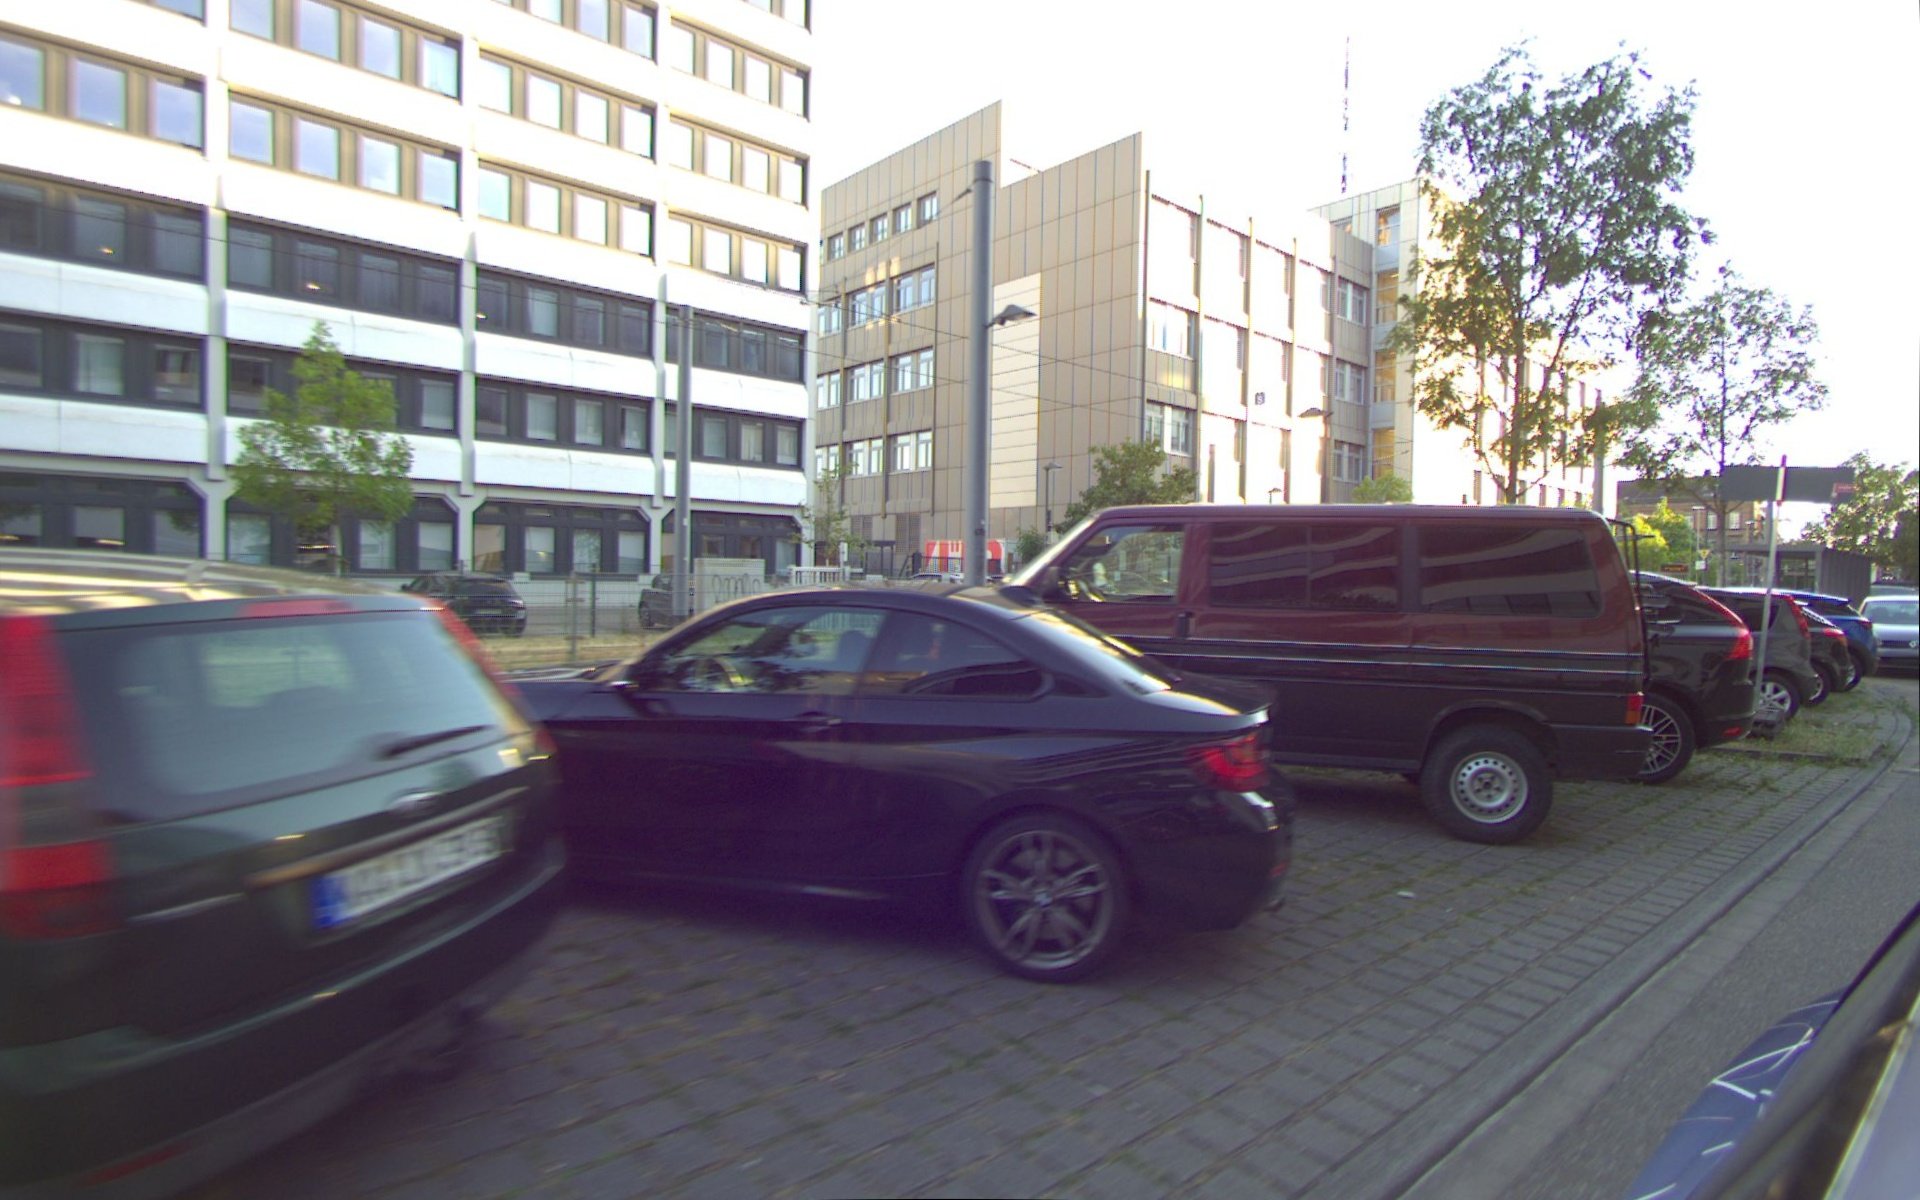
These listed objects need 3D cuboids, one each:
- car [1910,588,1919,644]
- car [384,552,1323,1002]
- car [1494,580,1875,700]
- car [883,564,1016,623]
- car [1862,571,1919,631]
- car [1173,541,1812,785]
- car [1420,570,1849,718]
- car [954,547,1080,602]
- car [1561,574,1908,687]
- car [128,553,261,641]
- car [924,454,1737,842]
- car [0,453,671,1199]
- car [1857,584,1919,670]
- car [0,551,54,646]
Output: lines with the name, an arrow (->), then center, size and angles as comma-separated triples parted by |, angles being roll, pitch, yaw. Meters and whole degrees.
car -> 26.960, 0.431, 27.365 | 4.119, 1.470, 1.677 | 0, 1, -44
car -> -0.424, 0.584, 4.598 | 3.722, 1.484, 1.632 | 0, -1, 14
car -> 9.942, 0.486, 14.220 | 3.937, 1.483, 1.731 | 1, 1, 11
car -> -0.381, -0.224, 30.480 | 1.793, 1.532, 3.994 | 1, 3, -42
car -> 37.106, 0.028, 39.874 | 4.655, 2.203, 1.807 | 0, 3, -42
car -> 4.235, 0.455, 8.878 | 4.538, 1.771, 1.862 | 0, -1, 16
car -> 7.962, 0.502, 12.365 | 3.940, 1.615, 1.730 | -1, 0, 14
car -> 1.729, -0.834, 31.806 | 1.646, 1.505, 3.997 | 0, 4, -40
car -> 12.304, 0.413, 16.407 | 3.941, 1.539, 1.920 | 2, 3, 14
car -> -13.823, -0.019, 18.202 | 1.564, 1.416, 3.991 | 1, -1, -42
car -> 2.183, 0.253, 6.912 | 4.538, 2.061, 1.862 | 0, -1, 16
car -> -2.911, 0.516, 2.768 | 3.722, 1.461, 1.756 | 0, 0, 14
car -> 18.169, 0.454, 19.062 | 1.728, 1.484, 3.943 | -1, 0, 40
car -> -15.858, 0.006, 16.521 | 1.564, 1.416, 3.991 | 1, -1, -42
